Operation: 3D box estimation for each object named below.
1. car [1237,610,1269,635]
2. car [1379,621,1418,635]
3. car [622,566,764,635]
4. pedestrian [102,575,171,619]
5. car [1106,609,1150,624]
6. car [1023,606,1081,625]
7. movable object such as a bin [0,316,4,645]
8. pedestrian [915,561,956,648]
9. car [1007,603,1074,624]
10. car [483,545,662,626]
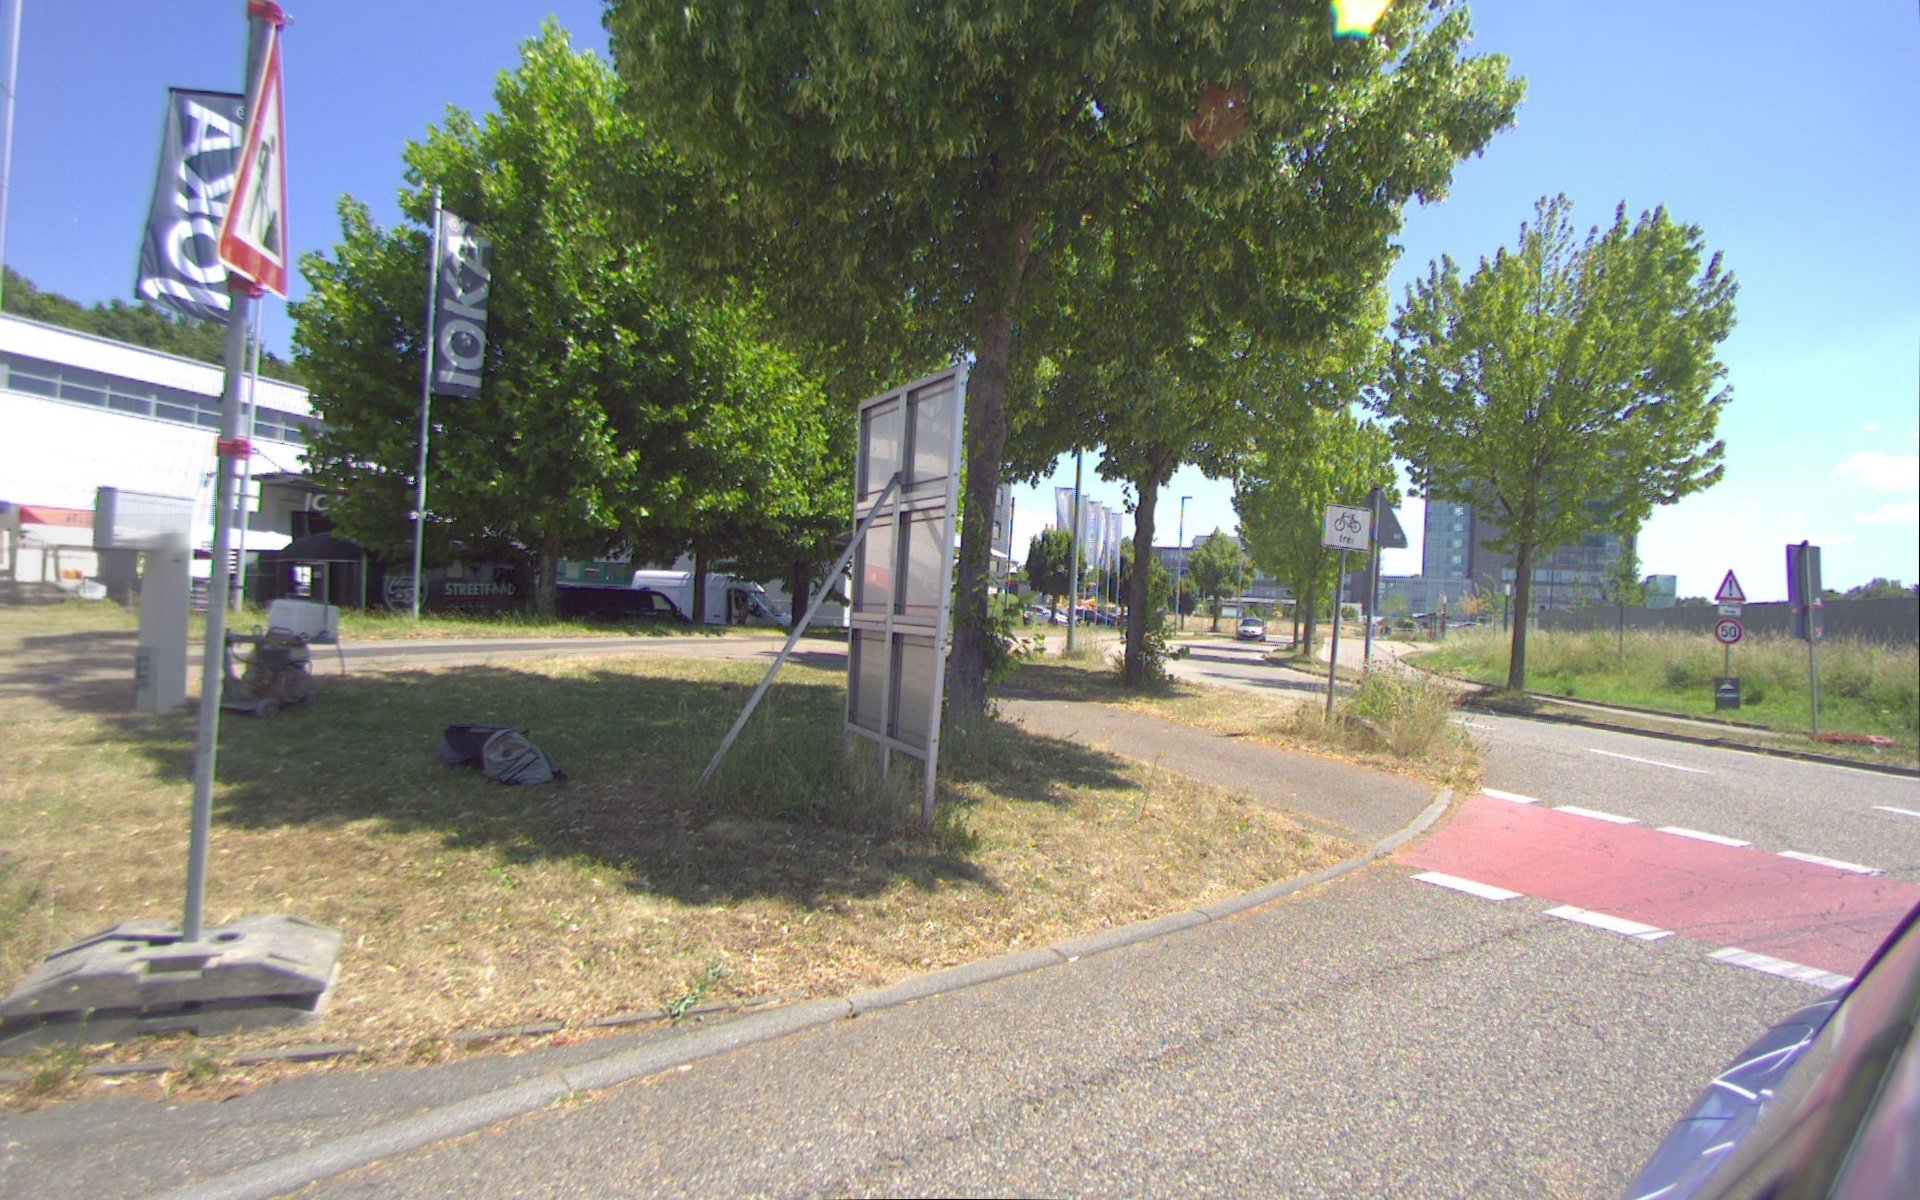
[{"bbox_3d":[20.173,1.594,69.600,1.661,1.524,3.542,1,-3,24],"label":"car"},{"bbox_3d":[47.680,3.063,110.099,3.797,1.290,1.599,2,0,20],"label":"car"},{"bbox_3d":[-8.741,0.025,33.261,4.197,2.040,1.543,2,-3,10],"label":"car"},{"bbox_3d":[-14.025,-0.046,17.246,0.406,0.704,0.852,2,0,44],"label":"pedestrian"},{"bbox_3d":[16.207,1.572,97.638,3.844,1.290,1.694,3,0,20],"label":"car"},{"bbox_3d":[6.653,1.097,72.793,3.844,1.197,1.694,2,0,20],"label":"car"},{"bbox_3d":[-8.415,-0.501,3.975,1.980,2.613,6.520,2,1,25],"label":"movable object such as a bin"},{"bbox_3d":[-0.494,0.098,20.346,0.521,1.692,0.578,5,-4,-42],"label":"pedestrian"},{"bbox_3d":[5.385,0.907,67.577,4.223,1.198,1.483,1,-3,20],"label":"car"},{"bbox_3d":[-9.325,-0.325,24.697,1.820,1.749,3.969,2,0,22],"label":"car"}]
